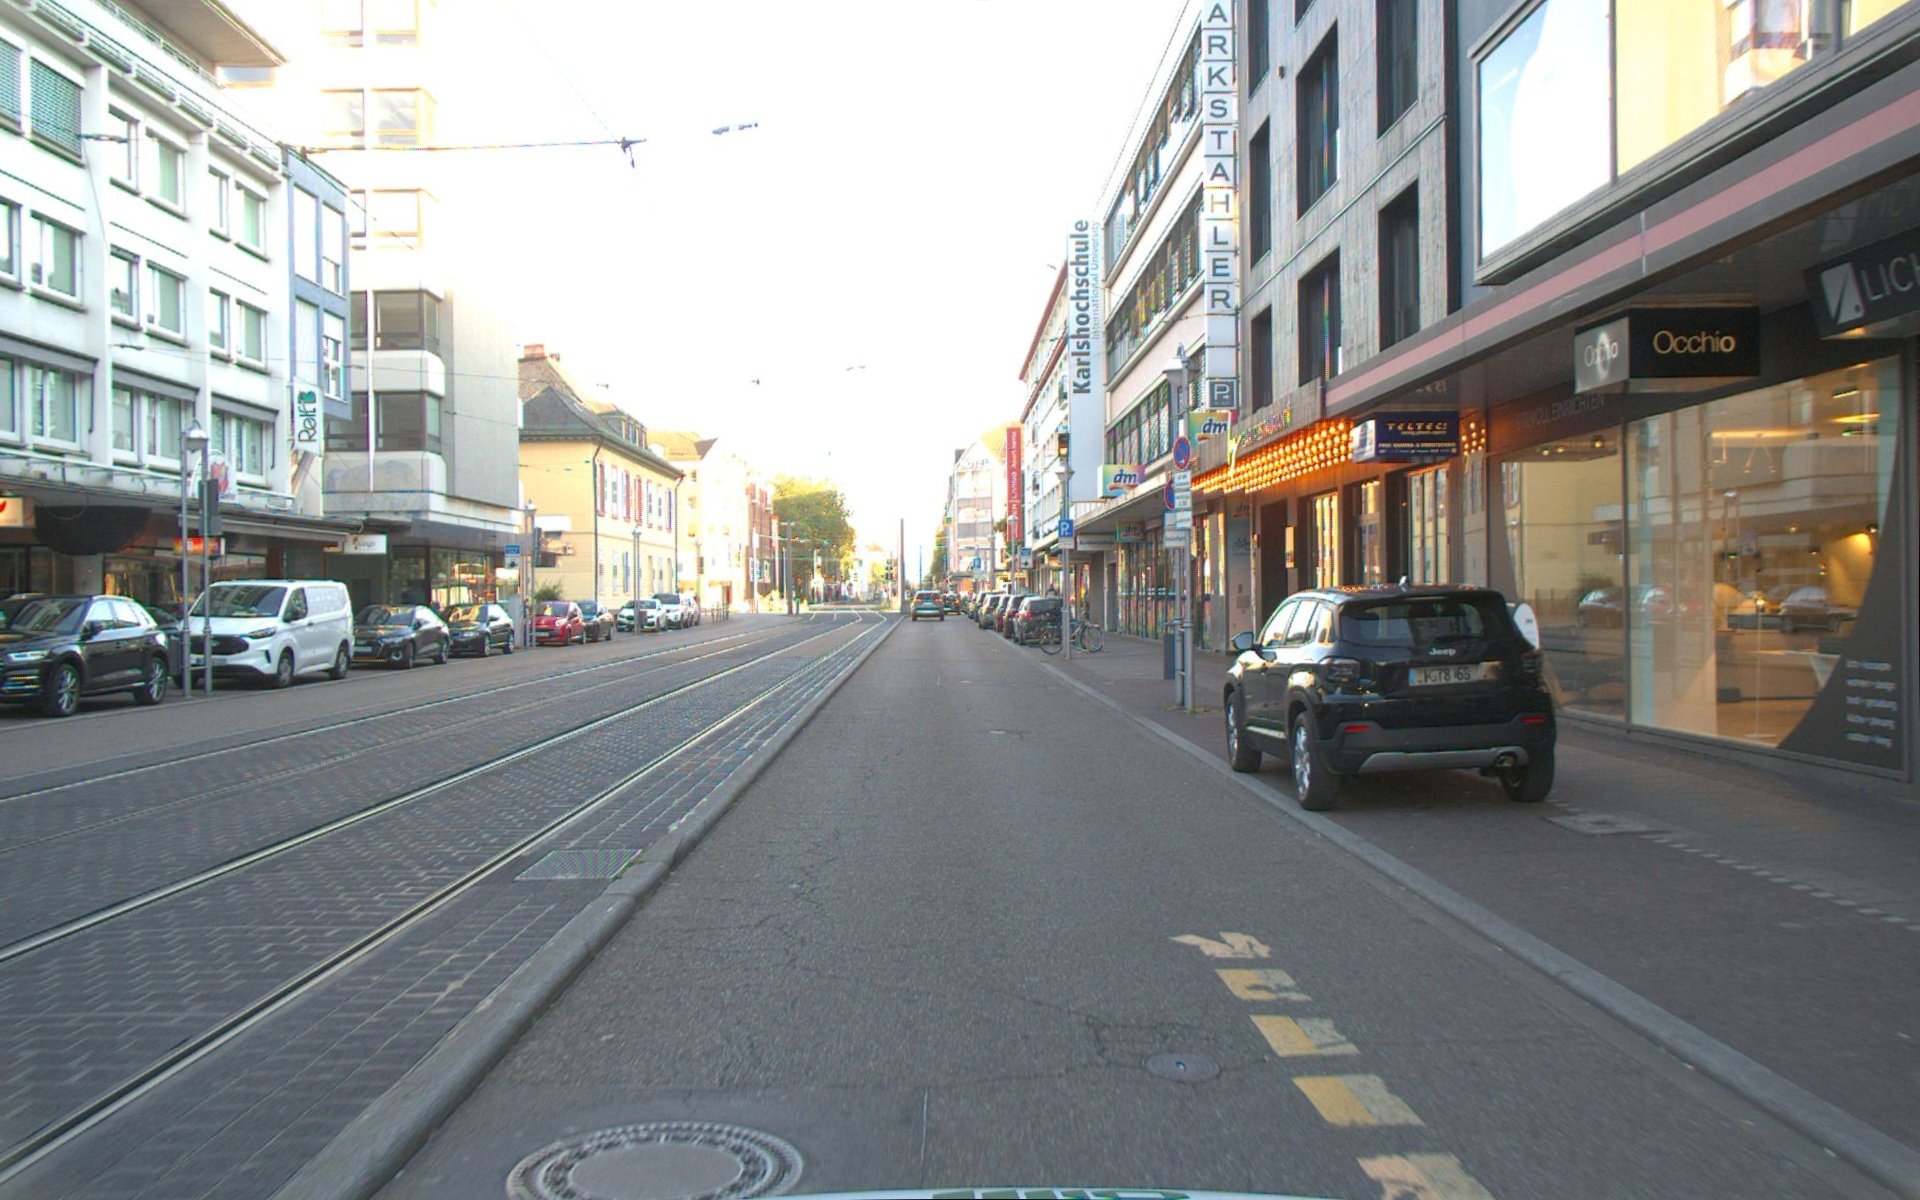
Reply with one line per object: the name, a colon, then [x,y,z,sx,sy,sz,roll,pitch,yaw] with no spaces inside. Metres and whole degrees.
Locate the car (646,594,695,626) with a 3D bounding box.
car: [-14.037,0.454,80.389,1.754,1.475,3.890,2,0,-2]

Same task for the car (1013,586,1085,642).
car: [2.697,0.392,51.176,1.904,1.571,4.544,-3,0,0]

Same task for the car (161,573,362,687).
car: [-13.243,0.517,31.712,1.879,1.969,4.840,2,0,-2]

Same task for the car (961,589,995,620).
car: [1.045,0.258,99.325,1.904,1.733,4.544,-3,0,0]

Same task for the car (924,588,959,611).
car: [-1.276,-0.065,116.001,1.902,1.572,4.548,-1,0,7]

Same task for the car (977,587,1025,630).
car: [1.787,0.346,72.694,1.904,1.733,4.544,-3,0,0]

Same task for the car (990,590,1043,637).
car: [2.255,0.510,66.999,1.904,1.733,4.544,-3,0,0]

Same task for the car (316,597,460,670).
car: [-13.450,0.746,39.197,1.879,1.547,4.628,2,0,-2]

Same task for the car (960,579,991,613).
car: [1.001,-0.285,111.173,1.904,2.183,4.544,-3,0,0]

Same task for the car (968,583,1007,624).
car: [1.420,0.173,87.634,1.904,1.999,4.544,-3,0,0]

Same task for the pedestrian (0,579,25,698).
pedestrian: [-15.333,0.599,26.096,0.635,1.852,0.837,2,0,-1]

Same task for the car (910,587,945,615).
car: [-1.828,0.032,94.571,1.904,1.572,4.544,0,0,0]

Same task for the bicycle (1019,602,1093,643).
bicycle: [2.752,0.641,47.498,2.077,1.109,0.591,-1,0,-4]

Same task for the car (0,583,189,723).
car: [-13.116,0.684,23.962,1.879,1.794,4.428,2,0,-2]

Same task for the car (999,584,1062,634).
car: [2.413,0.287,57.475,1.904,1.571,4.544,-3,0,0]

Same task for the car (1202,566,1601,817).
car: [3.265,0.592,13.250,1.904,1.571,4.544,-3,0,0]

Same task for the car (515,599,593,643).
car: [-13.633,0.678,55.741,1.755,1.362,3.890,2,0,-2]

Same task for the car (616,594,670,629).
car: [-14.211,0.518,74.297,1.755,1.475,3.890,2,0,-2]

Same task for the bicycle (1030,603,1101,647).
bicycle: [2.778,0.655,43.746,1.831,1.109,0.545,-1,0,-2]

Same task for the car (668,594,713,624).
car: [-13.889,0.433,85.443,1.754,1.475,3.890,2,0,-2]

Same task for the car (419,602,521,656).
car: [-13.514,0.769,45.830,1.755,1.362,3.890,2,0,-2]

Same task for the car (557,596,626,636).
car: [-13.544,0.566,61.045,1.755,1.362,3.890,2,0,-2]
